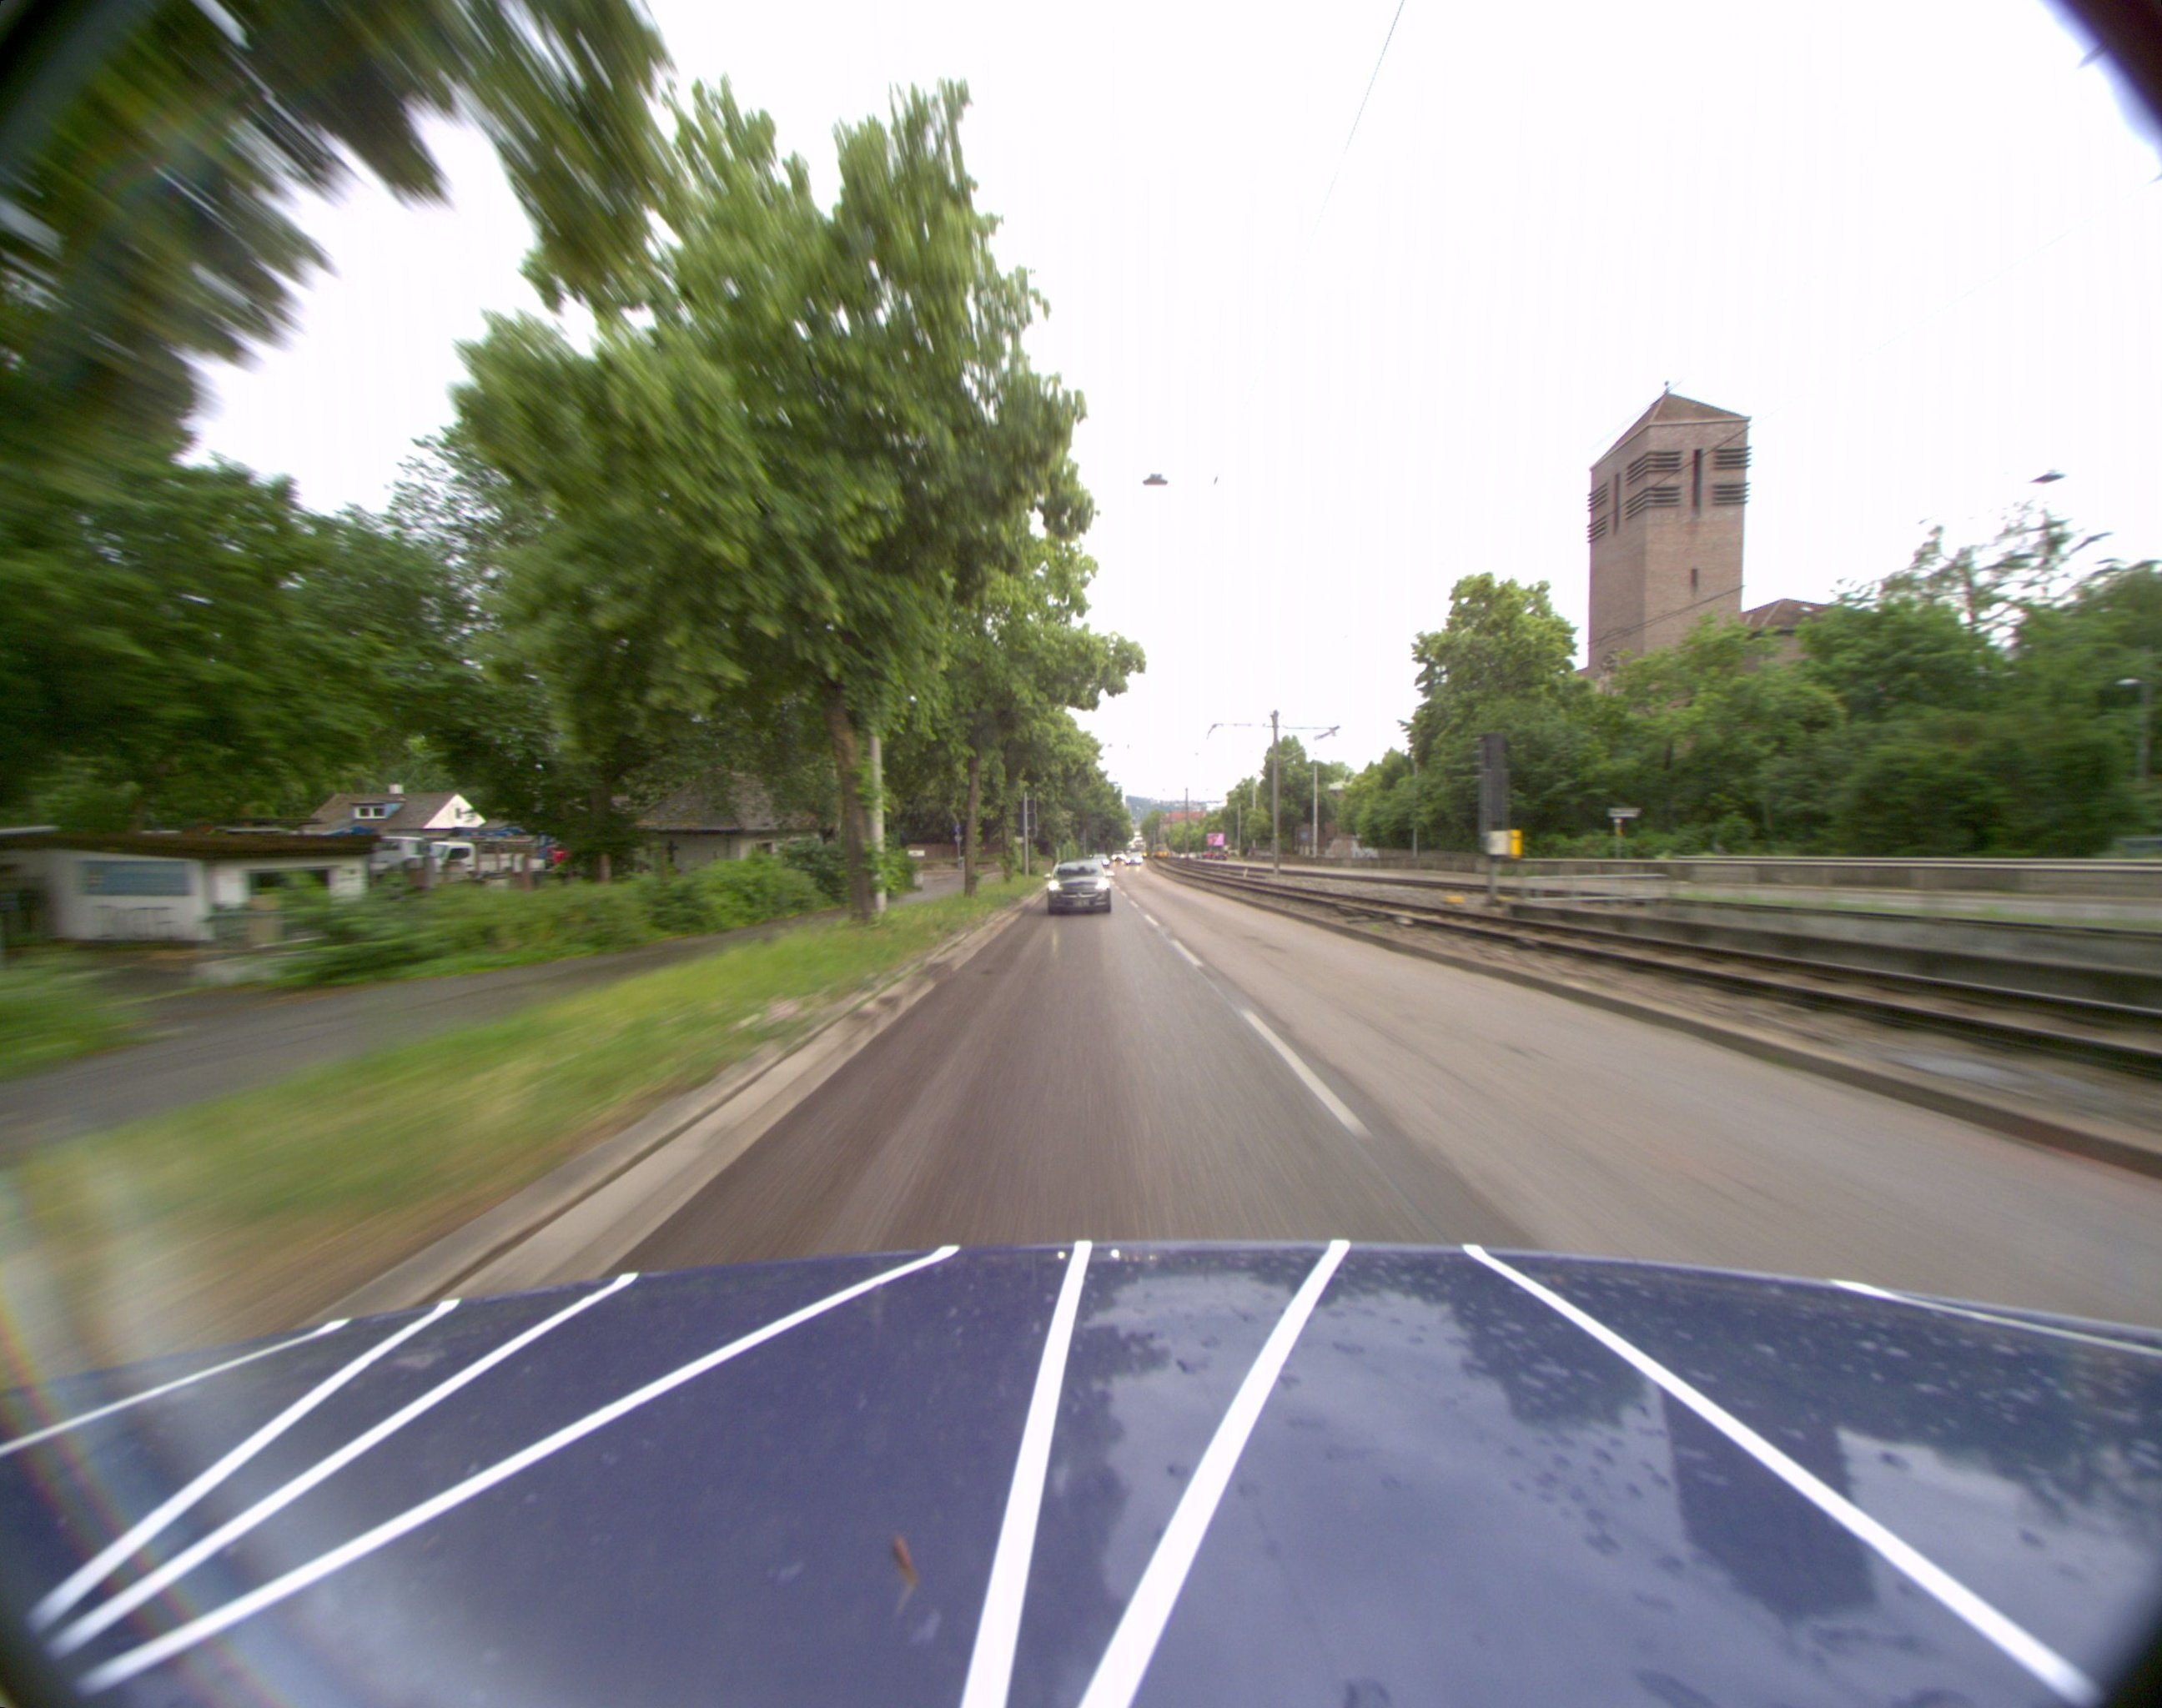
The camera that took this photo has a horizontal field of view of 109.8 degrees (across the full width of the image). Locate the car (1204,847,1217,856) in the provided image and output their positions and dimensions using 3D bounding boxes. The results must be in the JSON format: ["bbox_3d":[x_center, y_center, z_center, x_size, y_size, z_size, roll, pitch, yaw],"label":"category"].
[{"bbox_3d":[25.303,-0.448,148.677,1.998,1.634,4.525,1,0,3],"label":"car"}]

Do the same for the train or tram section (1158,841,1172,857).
[{"bbox_3d":[21.960,-1.182,198.869,2.834,3.953,17.881,-1,0,4],"label":"train or tram section"}]

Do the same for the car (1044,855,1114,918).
[{"bbox_3d":[0.016,0.825,21.764,1.746,1.544,4.494,-3,0,2],"label":"car"}]

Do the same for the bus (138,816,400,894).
[{"bbox_3d":[-31.639,0.017,30.176,2.256,2.685,7.170,-1,0,5],"label":"bus"}]

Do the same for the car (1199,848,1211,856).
[{"bbox_3d":[26.785,-0.437,164.082,1.998,1.634,4.412,1,0,3],"label":"car"}]

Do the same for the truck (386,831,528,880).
[{"bbox_3d":[-32.766,0.069,40.019,5.409,2.168,2.221,-4,0,-3],"label":"truck"}]

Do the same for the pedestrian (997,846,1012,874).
[{"bbox_3d":[-5.236,0.400,51.908,0.856,1.843,0.737,-1,1,5],"label":"pedestrian"}]

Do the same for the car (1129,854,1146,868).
[{"bbox_3d":[6.685,0.777,89.066,1.768,1.502,4.343,-1,0,7],"label":"car"}]

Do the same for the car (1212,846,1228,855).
[{"bbox_3d":[22.409,-0.513,122.561,1.970,1.433,4.322,0,1,1],"label":"car"}]

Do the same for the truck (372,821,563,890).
[{"bbox_3d":[-27.986,0.038,35.068,2.055,2.851,6.615,-1,0,22],"label":"truck"}]

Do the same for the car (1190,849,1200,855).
[{"bbox_3d":[27.313,-0.474,182.094,1.751,1.459,3.986,2,0,3],"label":"car"}]

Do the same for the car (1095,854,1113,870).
[{"bbox_3d":[2.281,0.769,77.091,1.769,1.502,4.341,-1,0,1],"label":"car"}]
